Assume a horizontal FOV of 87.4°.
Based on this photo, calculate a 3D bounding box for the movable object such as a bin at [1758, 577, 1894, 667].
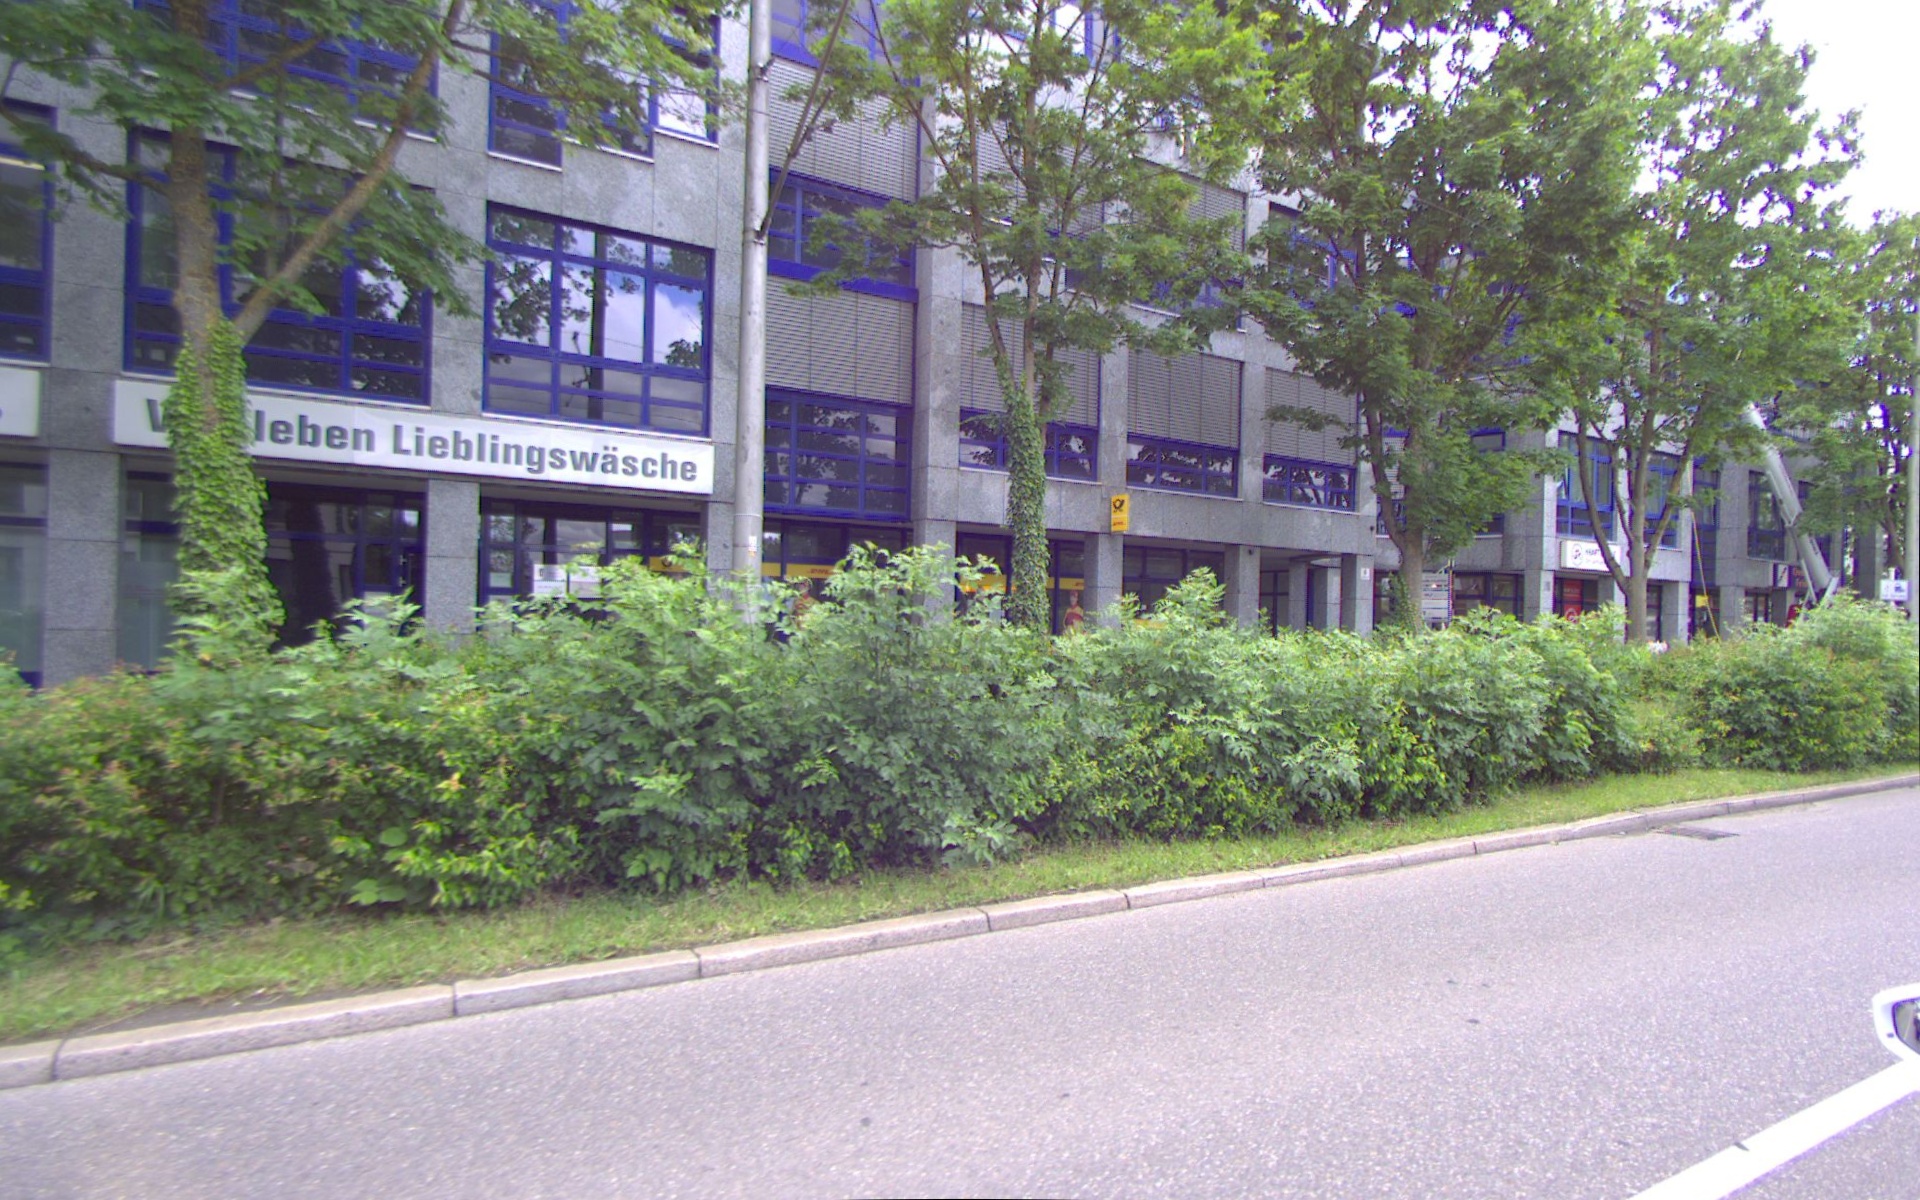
[{"bbox_3d":[26.702,0.669,30.968,4.080,2.565,1.895,1,2,-31],"label":"movable object such as a bin"}]

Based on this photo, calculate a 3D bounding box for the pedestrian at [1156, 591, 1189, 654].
[{"bbox_3d":[4.702,0.499,22.223,0.552,1.352,0.362,1,3,-35],"label":"pedestrian"}]
